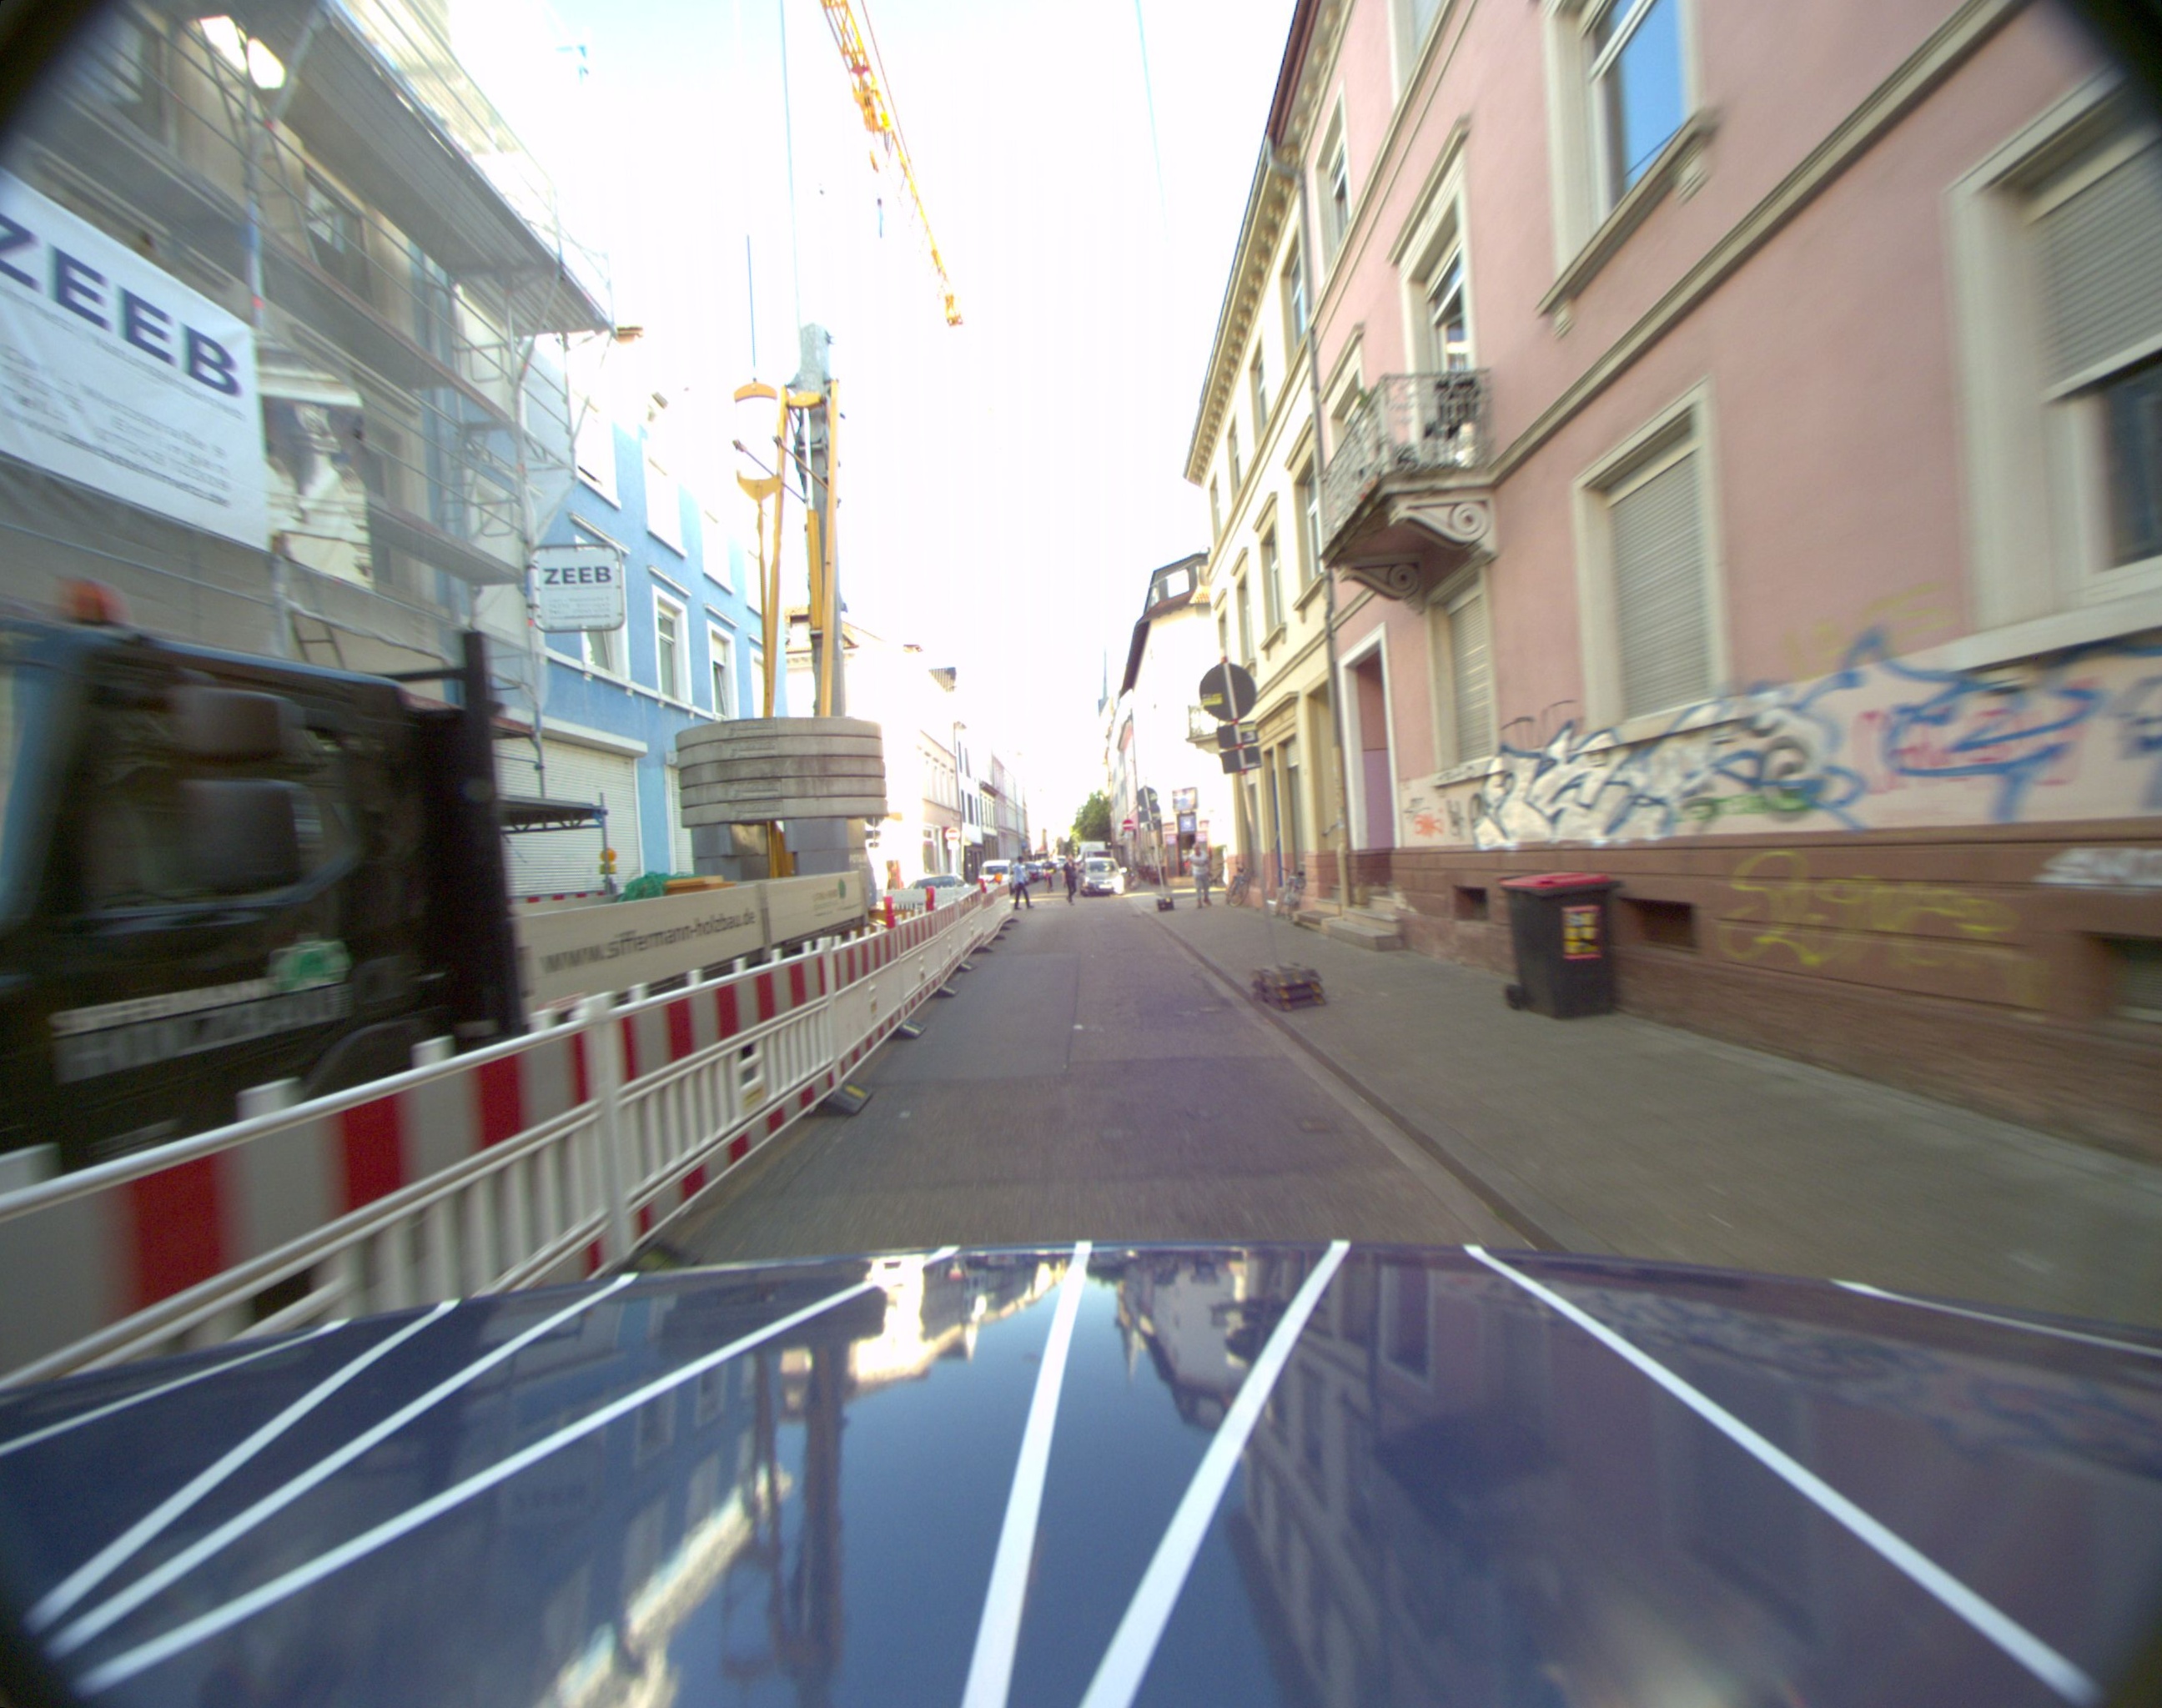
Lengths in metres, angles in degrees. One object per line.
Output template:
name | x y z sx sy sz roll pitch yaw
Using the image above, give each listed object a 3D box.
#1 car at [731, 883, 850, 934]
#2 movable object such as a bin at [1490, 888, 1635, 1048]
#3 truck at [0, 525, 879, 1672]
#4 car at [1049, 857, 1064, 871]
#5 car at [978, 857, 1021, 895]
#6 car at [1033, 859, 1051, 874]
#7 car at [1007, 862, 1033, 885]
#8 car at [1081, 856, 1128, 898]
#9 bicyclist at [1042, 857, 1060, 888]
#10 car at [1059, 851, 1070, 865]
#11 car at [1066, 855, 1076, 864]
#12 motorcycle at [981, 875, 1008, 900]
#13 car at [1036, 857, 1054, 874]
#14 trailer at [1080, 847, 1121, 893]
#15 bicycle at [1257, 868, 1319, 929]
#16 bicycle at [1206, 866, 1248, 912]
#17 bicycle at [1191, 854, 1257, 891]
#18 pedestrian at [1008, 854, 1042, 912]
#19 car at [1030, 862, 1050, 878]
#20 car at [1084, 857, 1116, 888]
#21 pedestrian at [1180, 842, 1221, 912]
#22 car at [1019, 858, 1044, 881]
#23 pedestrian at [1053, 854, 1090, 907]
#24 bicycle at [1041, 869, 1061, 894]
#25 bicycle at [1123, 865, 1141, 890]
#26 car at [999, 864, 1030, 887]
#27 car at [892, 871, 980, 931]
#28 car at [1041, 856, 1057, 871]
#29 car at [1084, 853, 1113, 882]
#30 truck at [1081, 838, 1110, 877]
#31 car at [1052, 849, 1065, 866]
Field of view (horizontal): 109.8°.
car | -11.963 2.229 31.473 4.069 1.623 1.855 -4 2 1
movable object such as a bin | 3.488 0.805 5.549 0.607 1.029 0.596 -5 1 -1
truck | -3.945 0.633 5.453 2.668 2.797 7.393 -5 0 1
car | -3.797 1.540 117.854 1.999 2.002 4.562 -5 0 -3
car | -4.308 1.145 40.768 1.753 1.806 4.369 -2 0 0
car | -4.018 1.246 78.747 1.613 1.444 3.881 -2 0 0
car | -4.486 1.405 56.337 1.620 1.495 3.772 -2 0 0
car | 0.944 0.950 32.632 1.726 1.596 4.166 -2 0 -1
bicyclist | -1.439 0.879 36.858 0.710 1.427 0.790 -4 0 2
car | -3.493 0.925 161.472 1.999 2.777 4.562 -5 0 -3
car | -2.421 1.262 176.307 1.999 2.002 4.562 -5 0 -3
motorcycle | -4.204 1.616 37.222 0.720 1.080 1.998 0 1 11
car | -3.939 1.277 83.936 1.713 1.721 4.220 -2 0 0
trailer | 0.908 0.720 37.312 1.666 2.049 4.363 -2 0 -2
bicycle | 3.863 0.801 14.320 0.623 1.016 1.818 -5 0 1
bicycle | 3.598 0.837 18.914 0.605 1.016 1.818 -8 -1 1
bicycle | 5.831 0.757 31.102 2.481 1.351 0.928 -4 1 1
pedestrian | -1.846 0.941 25.274 0.770 1.839 0.781 -5 1 14
car | -3.859 1.491 71.712 1.613 1.387 3.881 -2 0 0
car | 1.032 1.002 42.487 1.681 1.545 3.818 -2 0 0
pedestrian | 3.079 0.586 19.630 0.695 1.691 0.865 -8 -2 1
car | -4.150 1.284 64.513 1.713 1.721 4.407 -2 0 0
pedestrian | -0.327 0.895 26.387 0.830 1.782 0.987 -2 1 -34
bicycle | -1.444 1.318 36.889 0.710 1.105 1.935 -4 0 3
bicycle | 2.405 1.100 35.875 0.578 1.132 1.461 -5 1 -5
car | -4.524 1.429 51.943 1.736 1.387 3.881 -2 0 0
car | -4.283 1.357 23.054 1.776 1.426 4.033 -4 0 0
car | -4.053 1.198 96.001 1.713 1.802 4.220 -2 0 0
car | 1.161 0.871 52.731 1.807 1.834 4.244 -3 0 0
truck | 1.303 0.252 67.061 2.296 3.165 7.045 -3 0 2
car | -4.001 0.625 134.980 1.999 2.777 4.562 -5 0 -3
